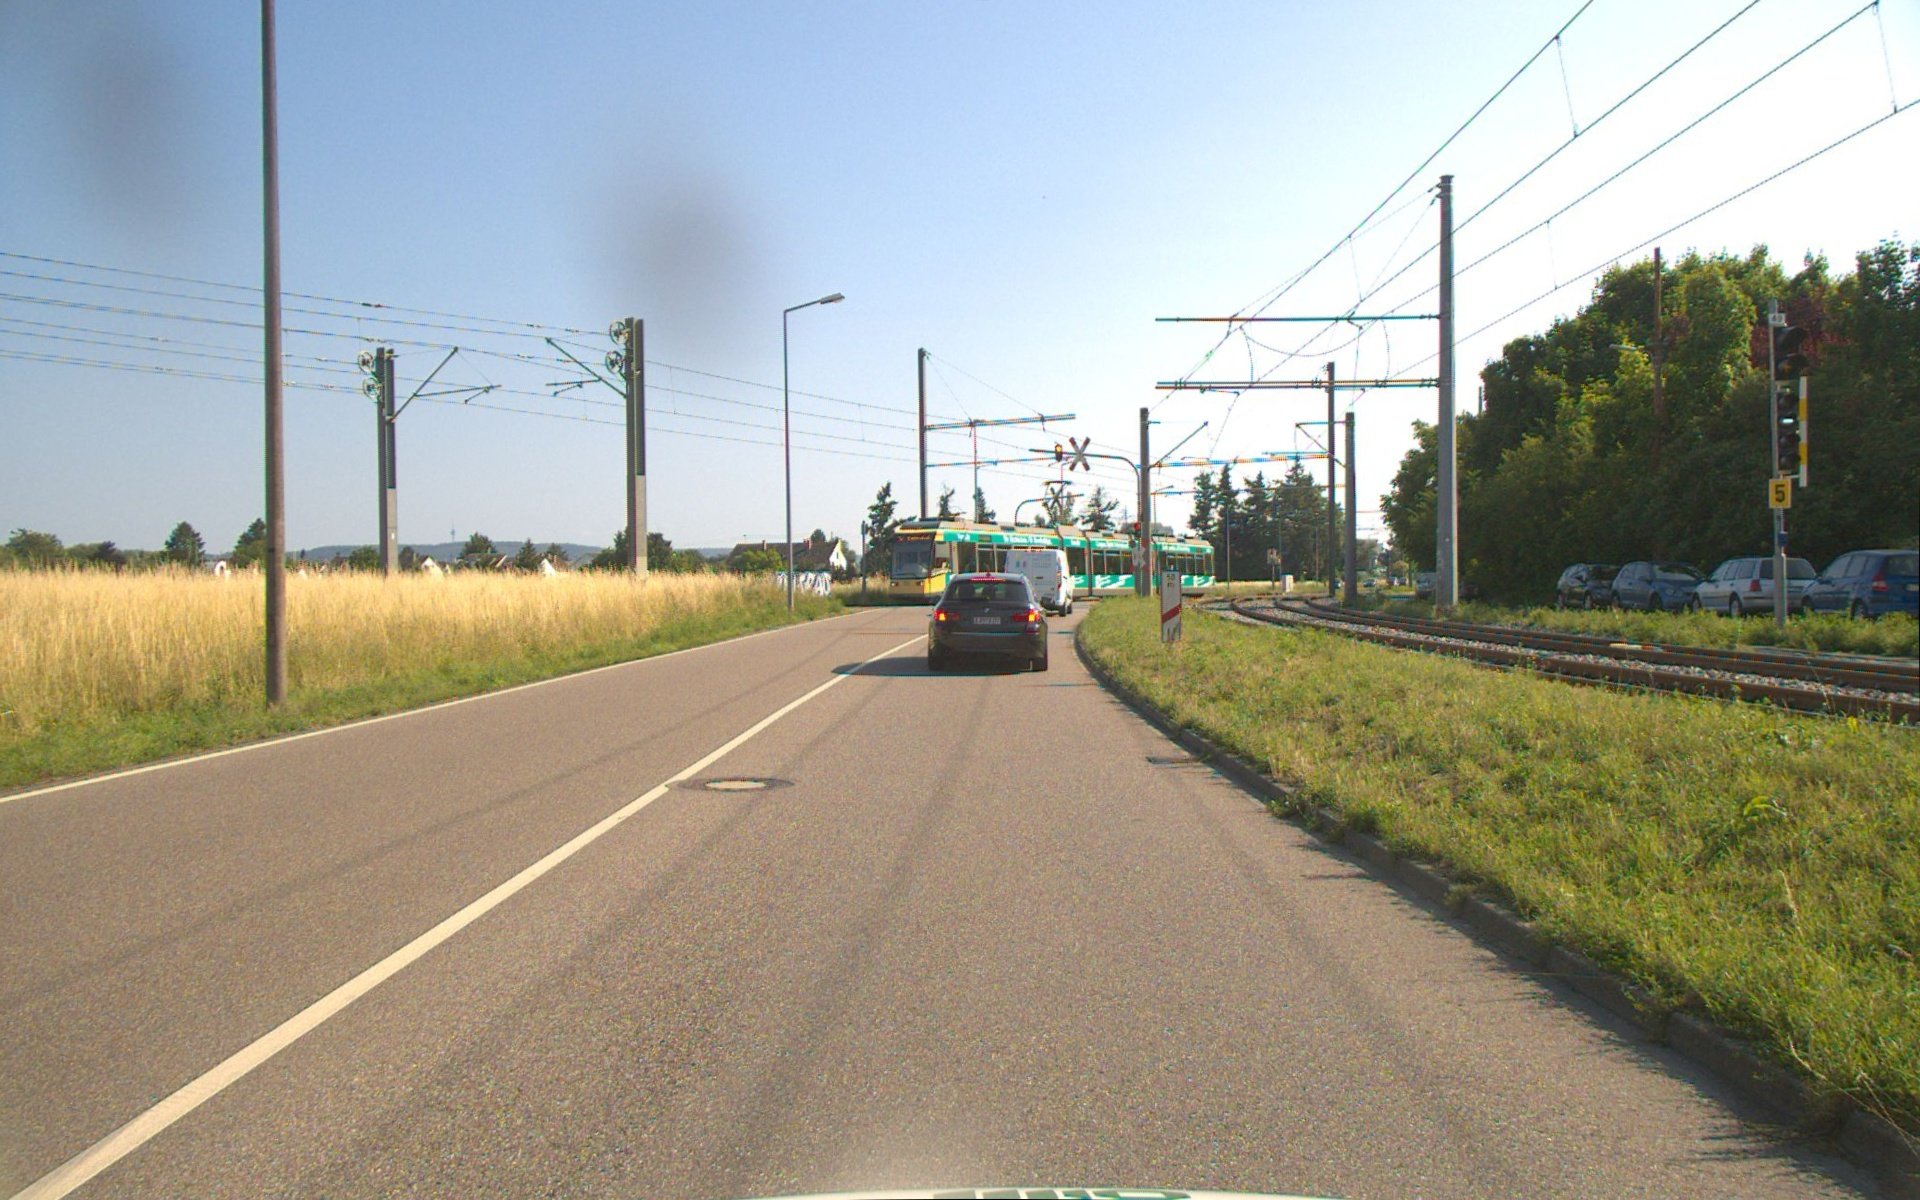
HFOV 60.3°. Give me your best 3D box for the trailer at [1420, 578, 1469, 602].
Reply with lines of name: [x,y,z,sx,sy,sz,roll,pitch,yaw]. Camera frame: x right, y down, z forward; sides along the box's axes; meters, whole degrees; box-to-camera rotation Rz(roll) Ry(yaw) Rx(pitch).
trailer: [21.355,-0.438,72.958,1.694,0.955,3.731,3,1,11]

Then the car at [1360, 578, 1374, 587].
car: [62.447,-2.672,253.760,1.658,1.464,4.285,1,1,20]

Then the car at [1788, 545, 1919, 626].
car: [17.706,-0.302,32.137,1.642,1.455,3.914,1,1,7]

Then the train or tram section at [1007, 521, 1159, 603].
train or tram section: [6.250,-1.756,81.158,2.861,3.514,12.149,1,-1,27]

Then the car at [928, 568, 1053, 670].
car: [0.467,0.232,26.605,1.830,1.478,4.744,0,1,1]

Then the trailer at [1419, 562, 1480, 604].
trailer: [20.383,-0.700,69.021,1.983,1.624,4.263,2,1,11]

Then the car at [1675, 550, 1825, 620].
car: [18.103,-0.375,38.117,1.673,1.491,4.393,-1,1,5]

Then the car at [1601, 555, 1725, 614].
car: [18.116,-0.414,42.813,1.454,1.425,4.150,-1,1,0]

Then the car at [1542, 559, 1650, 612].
car: [18.376,-0.433,47.980,1.589,1.435,4.523,1,1,3]

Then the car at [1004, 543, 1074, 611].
car: [2.513,-0.725,51.663,1.818,2.022,5.112,0,1,7]

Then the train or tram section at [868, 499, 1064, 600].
train or tram section: [0.540,-1.998,70.353,2.894,3.546,12.145,1,-1,28]

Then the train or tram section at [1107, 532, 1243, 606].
train or tram section: [12.307,-1.589,92.882,2.850,3.631,14.241,1,-1,27]
